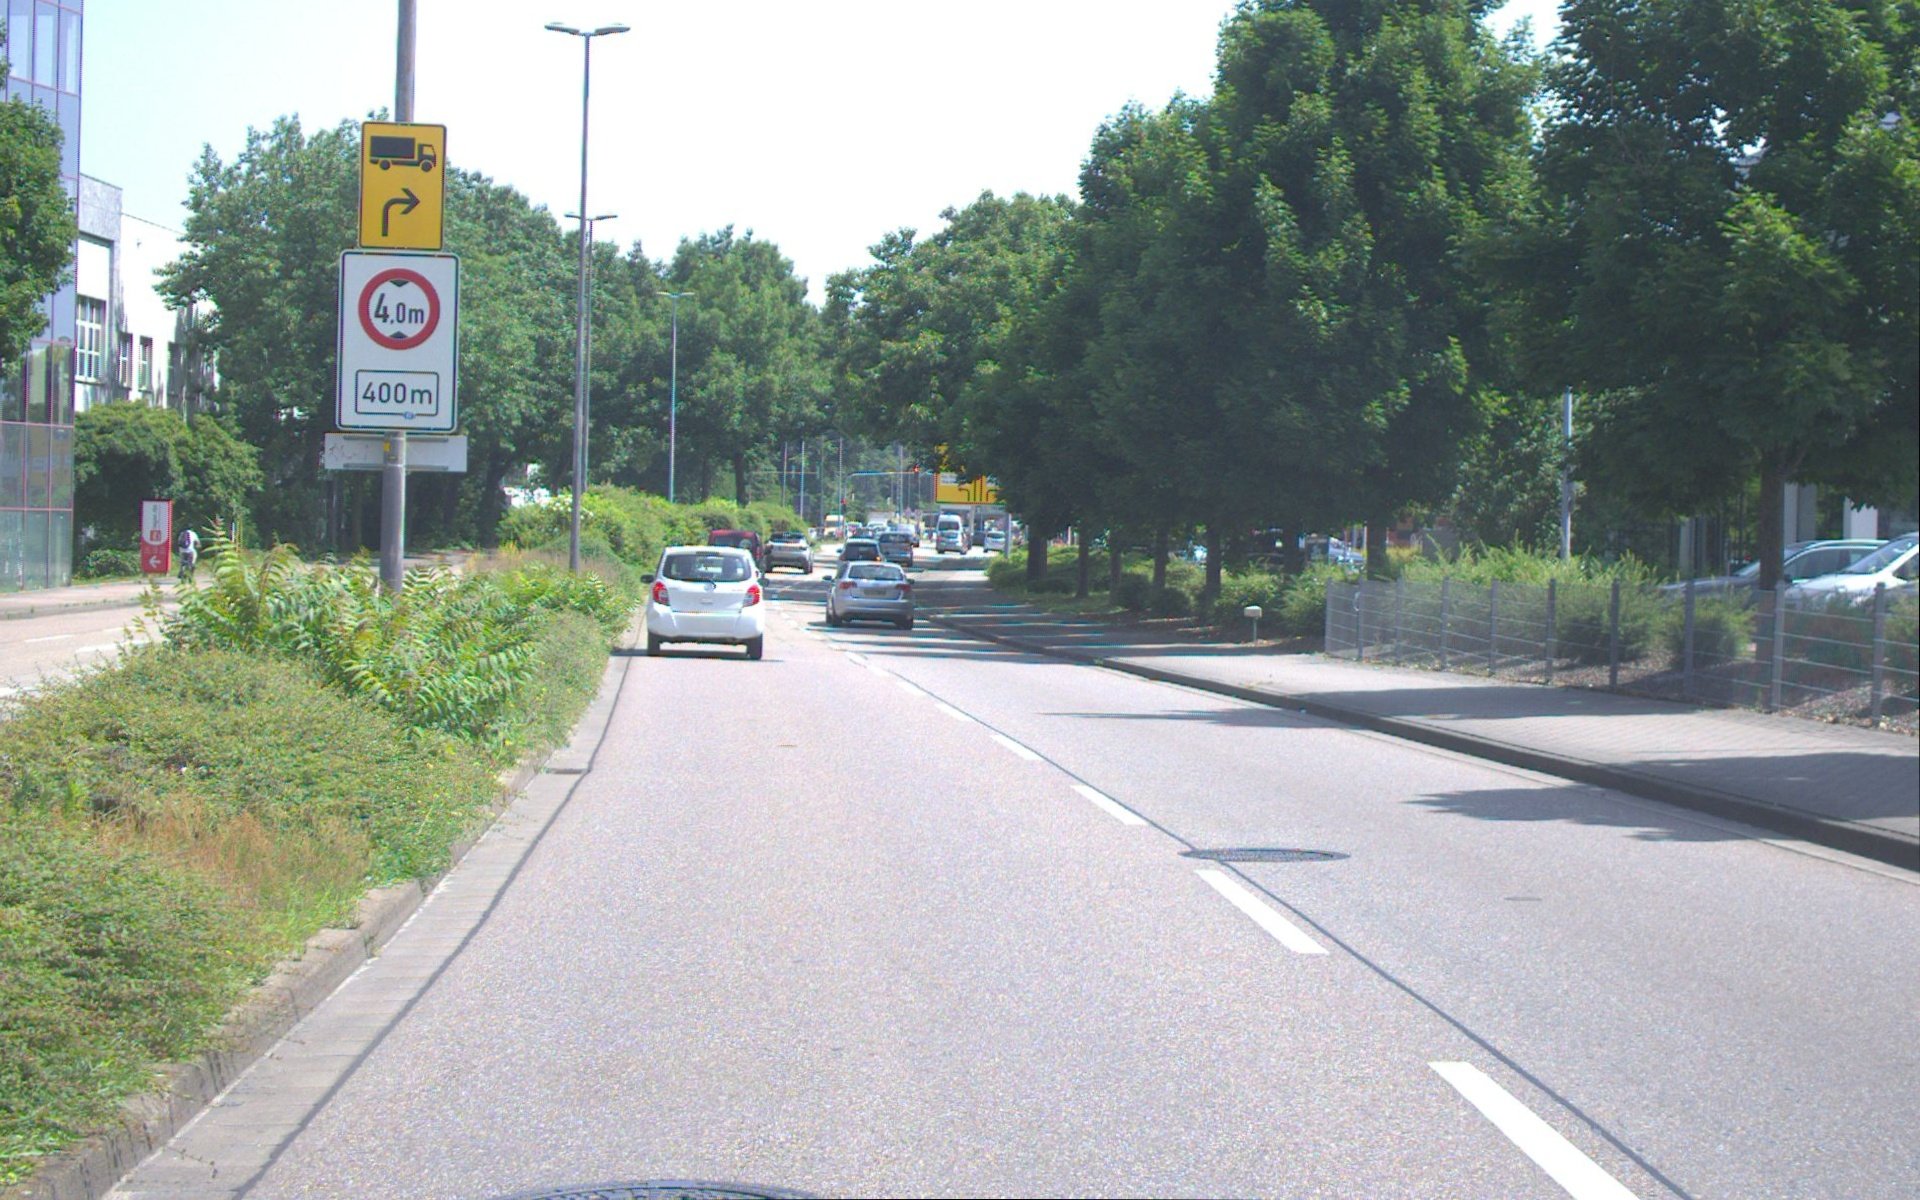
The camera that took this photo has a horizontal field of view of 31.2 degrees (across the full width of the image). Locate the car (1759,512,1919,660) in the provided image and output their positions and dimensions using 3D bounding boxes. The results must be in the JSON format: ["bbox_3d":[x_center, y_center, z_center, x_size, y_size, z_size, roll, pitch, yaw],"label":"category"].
[{"bbox_3d":[10.922,-0.116,37.257,3.986,1.528,1.827,1,0,-8],"label":"car"}]

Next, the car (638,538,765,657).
[{"bbox_3d":[-3.598,-0.058,48.243,1.638,1.546,3.325,2,1,-3],"label":"car"}]

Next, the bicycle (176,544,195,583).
[{"bbox_3d":[-21.452,-1.014,95.235,0.346,1.064,0.923,-1,1,-4],"label":"bicycle"}]

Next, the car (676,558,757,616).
[{"bbox_3d":[-6.135,-0.338,86.802,1.884,1.349,4.000,2,1,-3],"label":"car"}]

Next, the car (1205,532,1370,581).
[{"bbox_3d":[9.300,-1.252,97.827,1.947,1.347,4.714,-1,1,-38],"label":"car"}]

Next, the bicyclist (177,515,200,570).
[{"bbox_3d":[-21.370,-1.591,95.259,0.545,1.504,0.343,-1,0,-4],"label":"bicyclist"}]

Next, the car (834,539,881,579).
[{"bbox_3d":[-3.519,-1.409,117.689,1.441,1.343,3.460,0,1,-4],"label":"car"}]

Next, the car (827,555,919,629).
[{"bbox_3d":[-1.899,-0.195,73.975,1.865,1.468,4.000,2,1,-2],"label":"car"}]

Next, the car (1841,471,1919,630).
[{"bbox_3d":[11.021,-0.433,34.184,3.986,1.528,1.827,1,0,-3],"label":"car"}]

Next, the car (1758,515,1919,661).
[{"bbox_3d":[11.451,-0.103,39.561,3.986,1.590,1.827,2,1,-7],"label":"car"}]

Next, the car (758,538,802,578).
[{"bbox_3d":[-6.668,-1.568,127.309,1.487,1.387,3.308,2,1,-4],"label":"car"}]

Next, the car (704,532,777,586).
[{"bbox_3d":[-6.571,-1.236,103.126,1.885,1.603,4.000,0,1,1],"label":"car"}]
